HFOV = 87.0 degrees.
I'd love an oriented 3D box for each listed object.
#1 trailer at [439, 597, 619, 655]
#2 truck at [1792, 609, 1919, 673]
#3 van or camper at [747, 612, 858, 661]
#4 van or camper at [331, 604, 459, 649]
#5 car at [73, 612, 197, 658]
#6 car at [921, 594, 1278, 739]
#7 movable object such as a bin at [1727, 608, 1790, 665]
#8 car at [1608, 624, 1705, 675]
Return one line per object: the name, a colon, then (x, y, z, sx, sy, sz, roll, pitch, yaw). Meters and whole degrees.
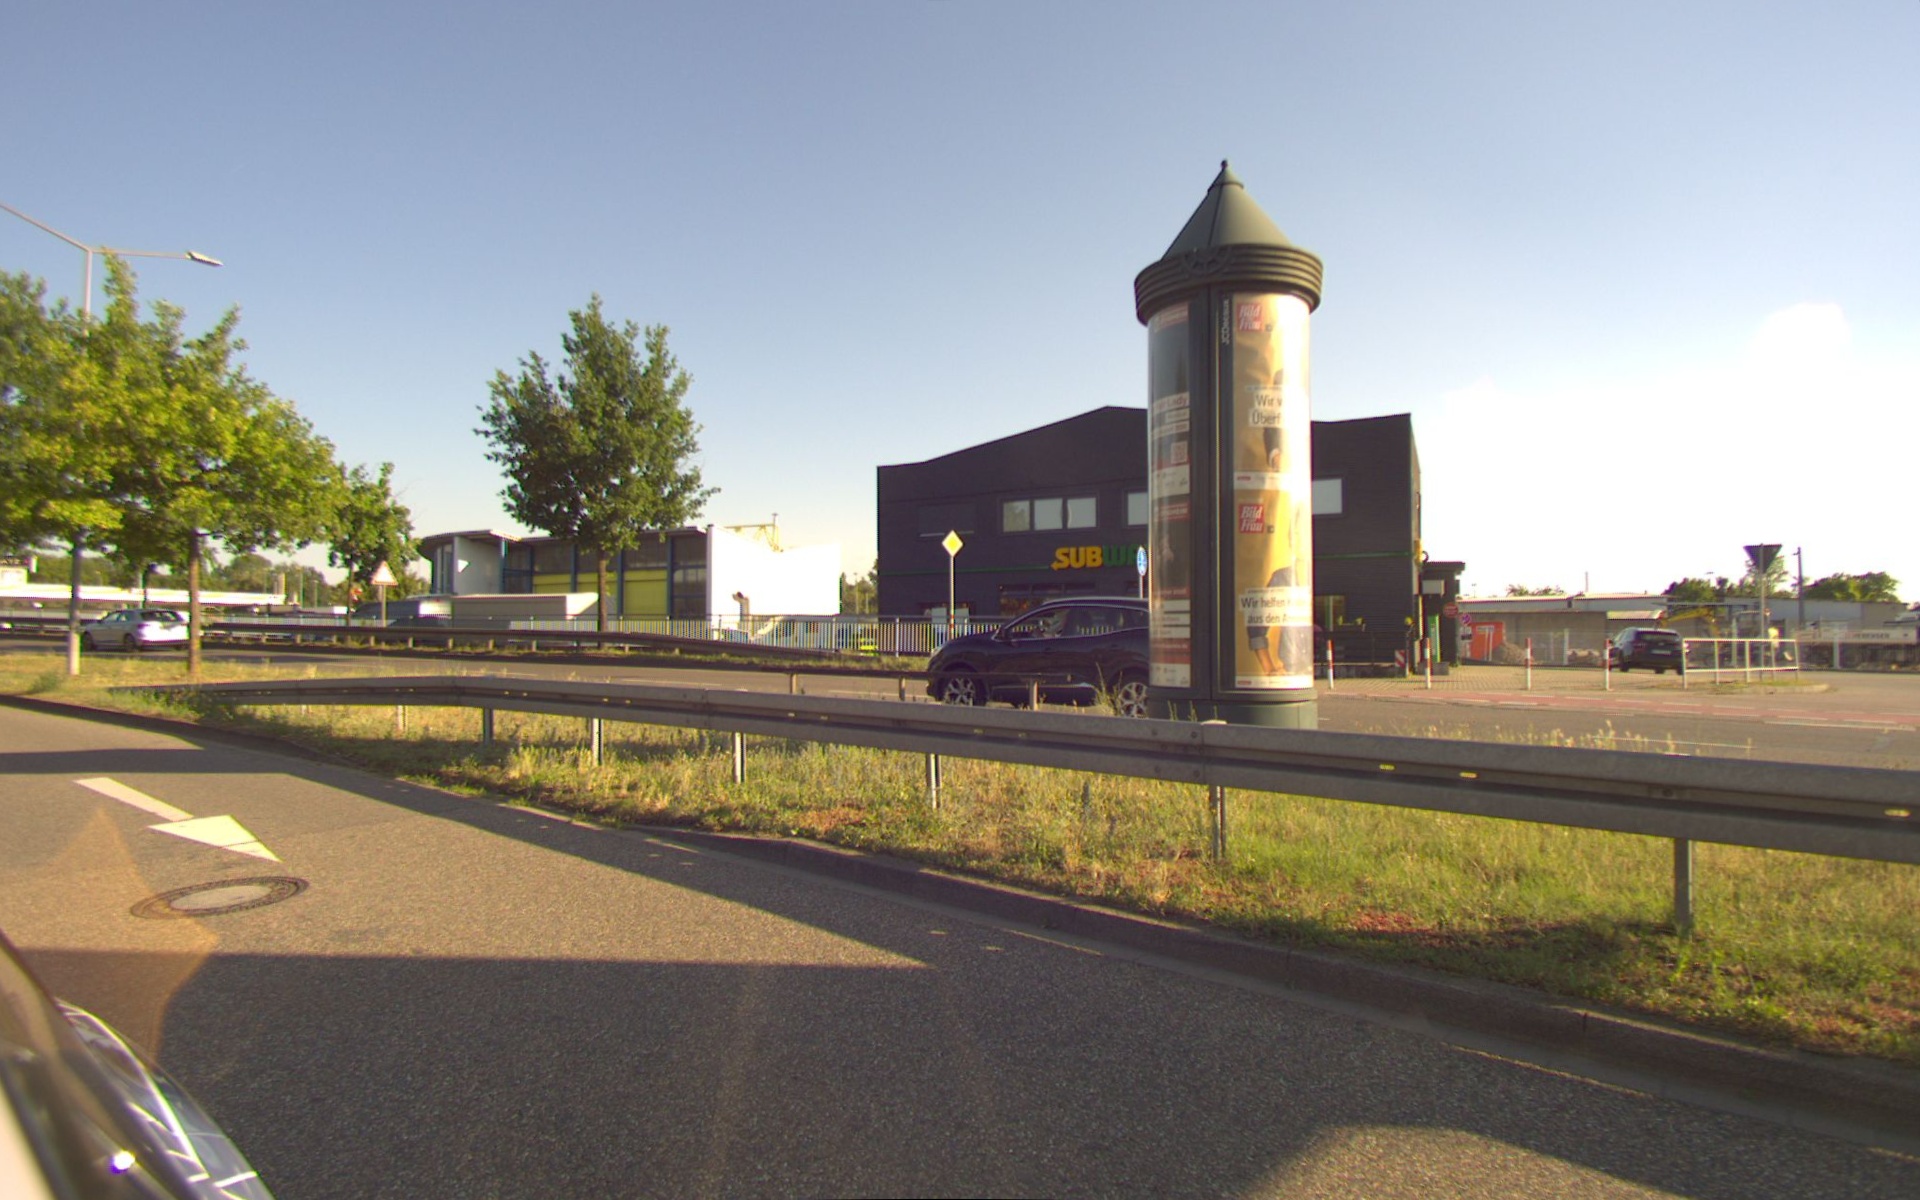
trailer: (-15.870, 0.915, 37.206, 6.572, 1.985, 2.405, 0, -1, 27)
truck: (47.429, 2.069, 52.055, 6.707, 3.168, 2.430, 0, -1, 11)
van or camper: (-6.704, 1.548, 43.128, 4.157, 1.940, 2.006, 2, -1, -30)
van or camper: (-22.513, 1.032, 40.296, 4.933, 1.698, 1.983, 0, -1, 26)
car: (-28.170, 1.165, 34.546, 4.082, 1.474, 1.664, 0, -1, 25)
car: (1.725, 0.771, 13.377, 4.390, 1.616, 1.827, 0, -2, 40)
movable object such as a bin: (39.411, 1.785, 50.004, 2.214, 2.735, 1.720, 0, -2, 33)
car: (22.744, 1.558, 33.209, 1.832, 1.541, 3.969, 0, -1, 23)
